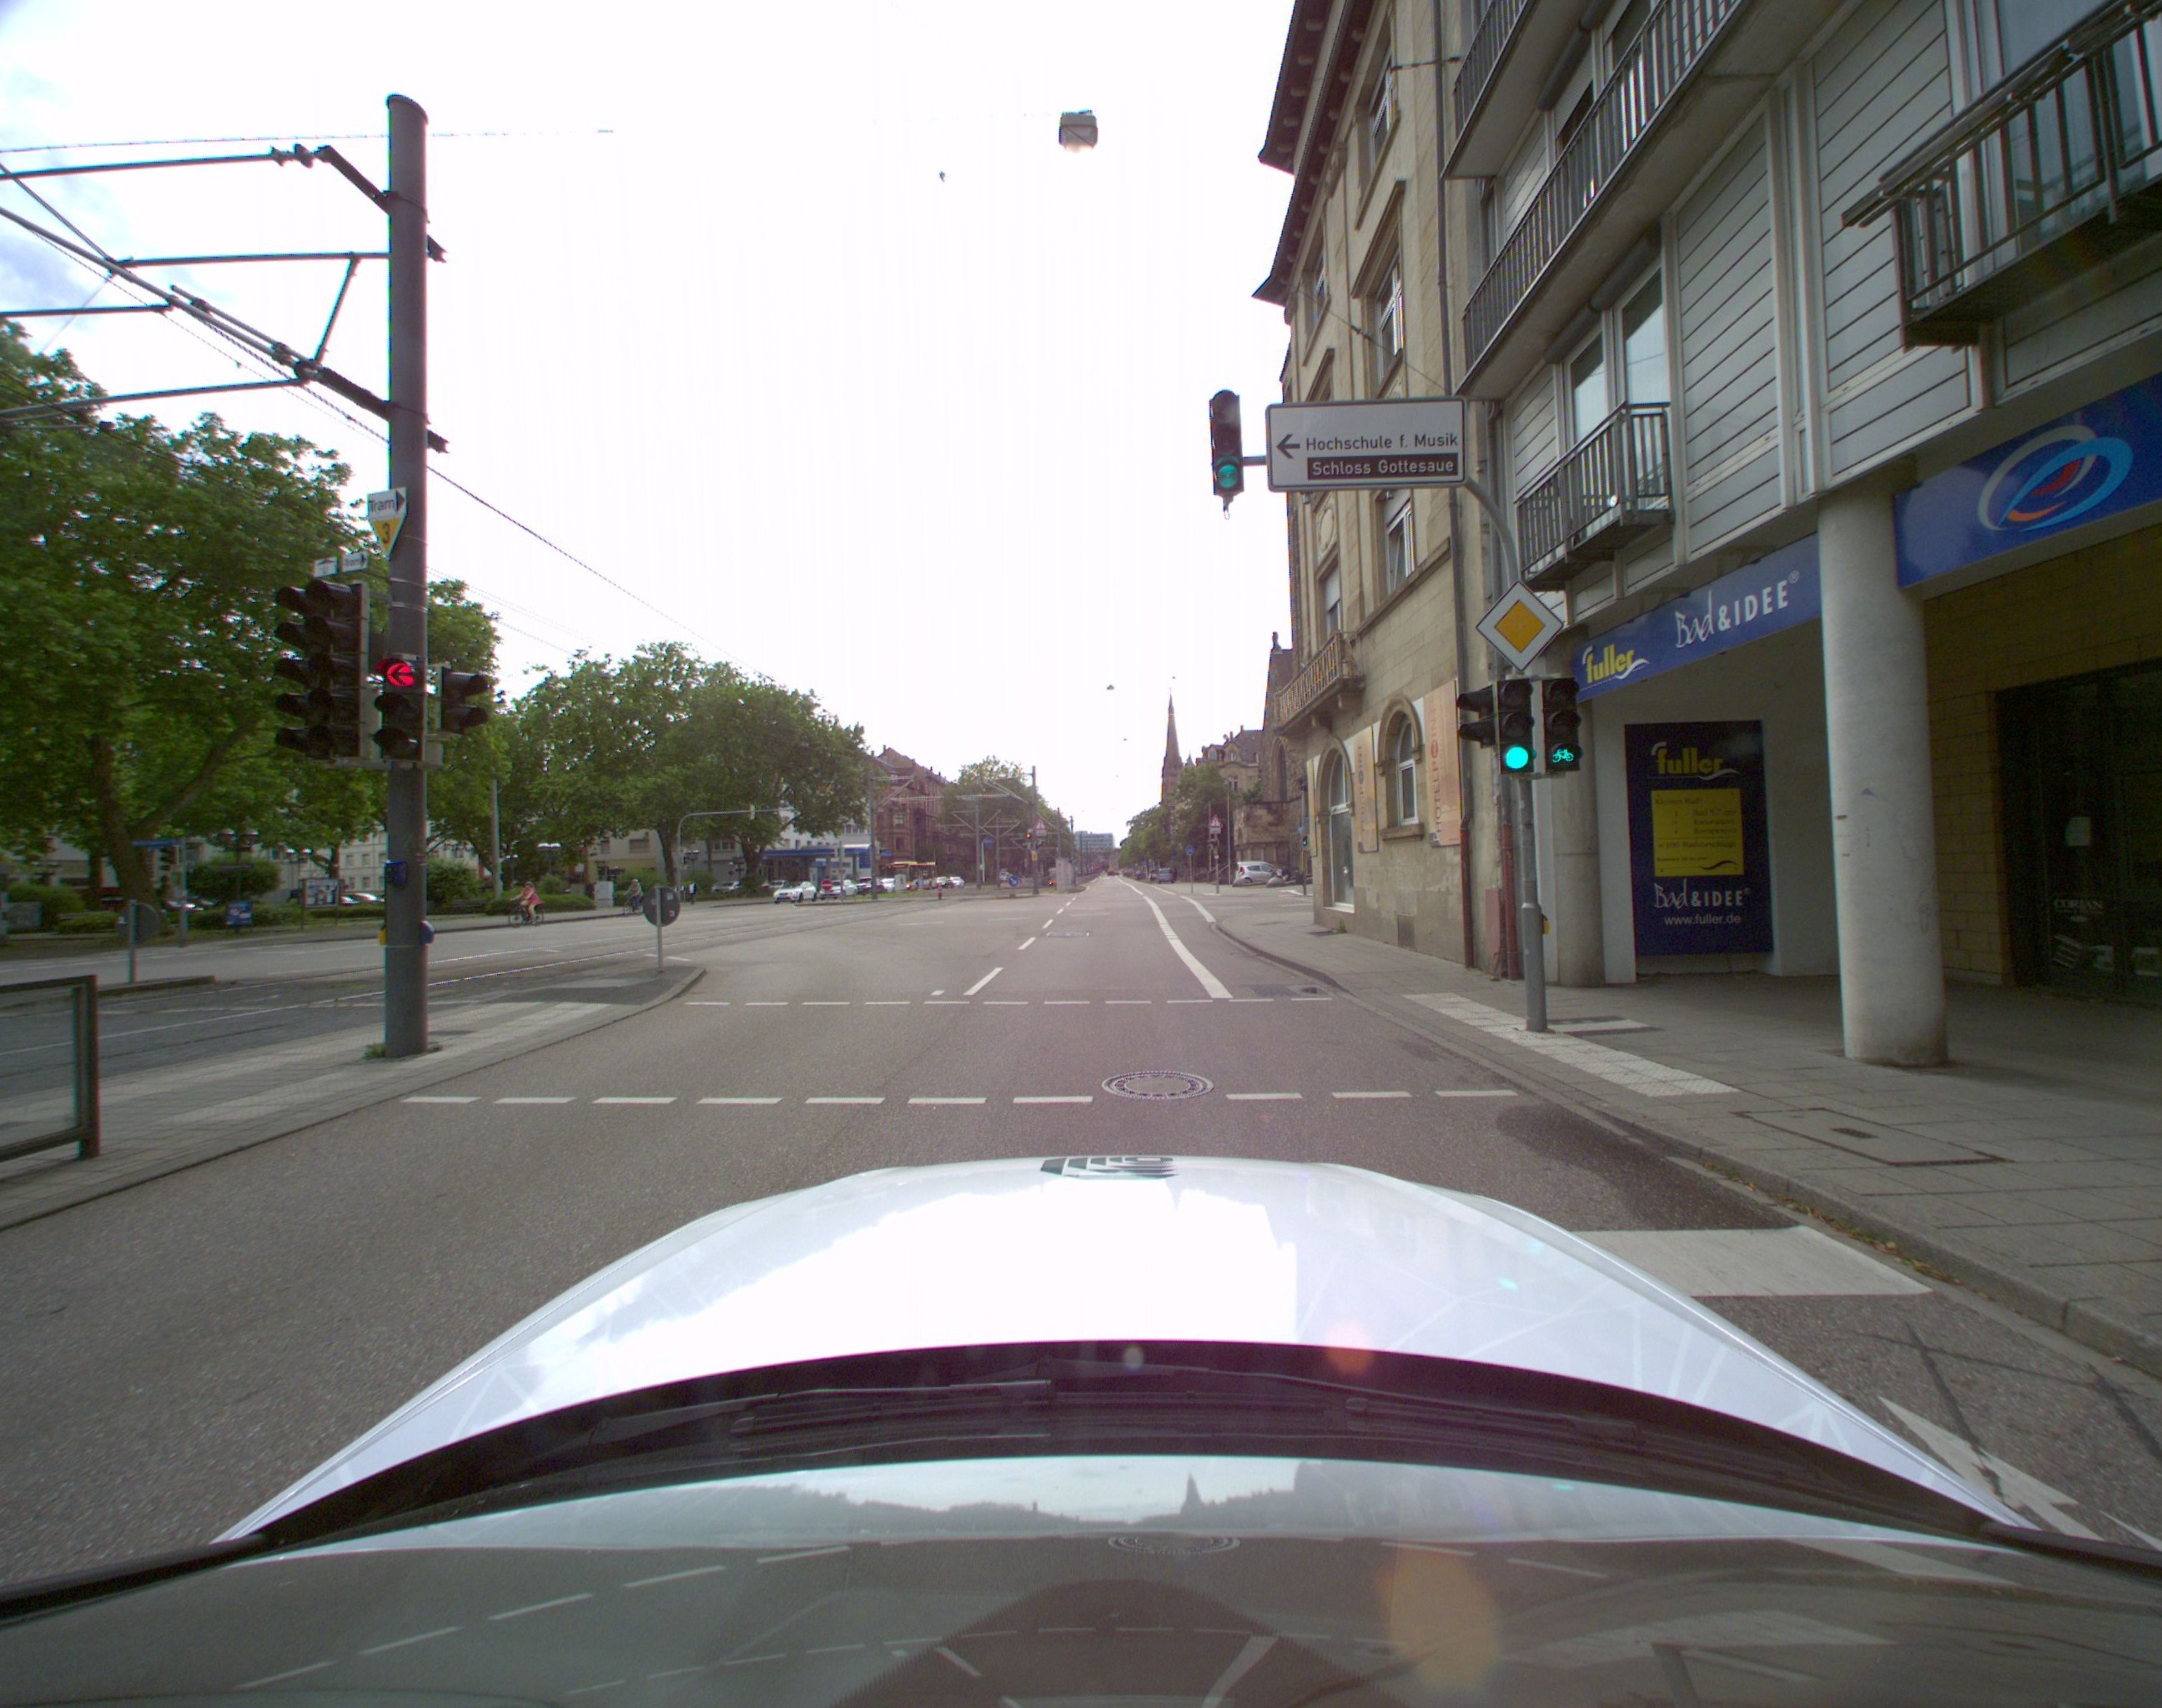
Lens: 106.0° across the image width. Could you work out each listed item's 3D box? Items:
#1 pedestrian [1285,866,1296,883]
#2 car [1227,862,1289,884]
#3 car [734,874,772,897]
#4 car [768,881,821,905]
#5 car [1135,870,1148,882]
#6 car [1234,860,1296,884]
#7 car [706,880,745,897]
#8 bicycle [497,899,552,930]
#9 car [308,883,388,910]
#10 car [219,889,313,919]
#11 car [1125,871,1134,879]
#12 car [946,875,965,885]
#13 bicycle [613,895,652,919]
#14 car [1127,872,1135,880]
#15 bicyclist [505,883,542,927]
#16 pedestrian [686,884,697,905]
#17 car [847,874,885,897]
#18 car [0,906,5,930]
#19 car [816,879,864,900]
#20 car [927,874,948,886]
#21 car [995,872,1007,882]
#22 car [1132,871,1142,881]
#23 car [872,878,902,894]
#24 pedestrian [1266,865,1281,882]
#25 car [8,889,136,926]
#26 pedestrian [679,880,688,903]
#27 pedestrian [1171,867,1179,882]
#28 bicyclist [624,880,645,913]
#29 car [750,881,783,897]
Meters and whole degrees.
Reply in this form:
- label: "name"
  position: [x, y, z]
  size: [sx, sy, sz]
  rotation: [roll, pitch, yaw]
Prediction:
- label: "pedestrian"
  position: [14.976, 1.453, 58.262]
  size: [0.731, 1.228, 1.067]
  rotation: [-1, -1, 17]
- label: "car"
  position: [13.345, 1.443, 61.654]
  size: [4.332, 1.636, 1.663]
  rotation: [0, -1, 1]
- label: "car"
  position: [-31.904, 3.035, 79.313]
  size: [1.986, 2.014, 4.001]
  rotation: [-2, -1, 2]
- label: "car"
  position: [-19.258, 2.584, 54.929]
  size: [1.835, 1.448, 4.415]
  rotation: [0, -1, 2]
- label: "car"
  position: [9.906, 3.625, 133.109]
  size: [1.986, 1.820, 4.001]
  rotation: [-2, -1, 2]
- label: "car"
  position: [14.668, 1.437, 65.092]
  size: [4.593, 1.881, 1.663]
  rotation: [0, -1, 1]
- label: "car"
  position: [-34.685, 3.363, 79.550]
  size: [1.986, 1.466, 4.001]
  rotation: [-2, -1, 2]
- label: "bicycle"
  position: [-22.170, 2.401, 32.503]
  size: [0.724, 1.064, 1.993]
  rotation: [-4, -2, 1]
- label: "car"
  position: [-65.289, 3.769, 72.606]
  size: [4.825, 2.101, 2.072]
  rotation: [-2, -1, -15]
- label: "car"
  position: [-64.523, 3.906, 64.558]
  size: [4.825, 2.101, 2.072]
  rotation: [-2, -1, -15]
- label: "car"
  position: [12.794, 5.531, 215.165]
  size: [1.986, 2.014, 4.000]
  rotation: [0, -1, 1]
- label: "car"
  position: [-16.527, 3.462, 107.485]
  size: [1.695, 1.221, 3.893]
  rotation: [0, -1, 3]
- label: "bicycle"
  position: [-22.467, 2.637, 40.853]
  size: [0.724, 1.064, 1.993]
  rotation: [-4, -2, 2]
- label: "car"
  position: [12.759, 5.500, 207.454]
  size: [1.986, 1.926, 4.000]
  rotation: [0, -1, 1]
- label: "bicyclist"
  position: [-22.186, 2.015, 32.434]
  size: [0.703, 1.637, 0.994]
  rotation: [-3, -1, 1]
- label: "pedestrian"
  position: [-25.316, 2.627, 52.965]
  size: [0.454, 1.326, 0.469]
  rotation: [-1, -1, -5]
- label: "car"
  position: [-18.435, 2.676, 70.046]
  size: [1.695, 1.783, 5.152]
  rotation: [0, -1, 3]
- label: "car"
  position: [-66.374, 3.856, 47.003]
  size: [4.825, 1.389, 2.072]
  rotation: [-2, -1, -15]
- label: "car"
  position: [-18.608, 2.714, 63.145]
  size: [1.834, 1.526, 5.704]
  rotation: [0, -1, 2]
- label: "car"
  position: [-17.605, 3.208, 99.935]
  size: [1.695, 1.358, 3.893]
  rotation: [0, -1, 3]
- label: "car"
  position: [-14.470, 4.112, 147.038]
  size: [1.695, 1.712, 3.893]
  rotation: [0, -1, 3]
- label: "car"
  position: [11.625, 4.584, 169.306]
  size: [1.986, 1.882, 4.001]
  rotation: [-2, -1, 2]
- label: "car"
  position: [-18.156, 3.007, 76.484]
  size: [1.695, 1.398, 3.893]
  rotation: [0, -1, 3]
- label: "pedestrian"
  position: [13.628, 1.380, 57.775]
  size: [0.734, 1.192, 1.494]
  rotation: [0, -1, 2]
- label: "car"
  position: [-64.844, 3.394, 52.439]
  size: [4.825, 2.101, 2.072]
  rotation: [-2, -1, -15]
- label: "pedestrian"
  position: [-25.770, 2.450, 52.786]
  size: [0.360, 1.479, 0.373]
  rotation: [-1, -1, -5]
- label: "pedestrian"
  position: [10.865, 2.380, 94.109]
  size: [0.772, 1.647, 0.800]
  rotation: [-1, -1, 8]
- label: "bicyclist"
  position: [-22.457, 2.137, 40.970]
  size: [0.581, 1.562, 0.757]
  rotation: [-4, -1, 2]
- label: "car"
  position: [-29.584, 3.272, 76.722]
  size: [1.695, 1.359, 3.406]
  rotation: [0, -1, 3]
